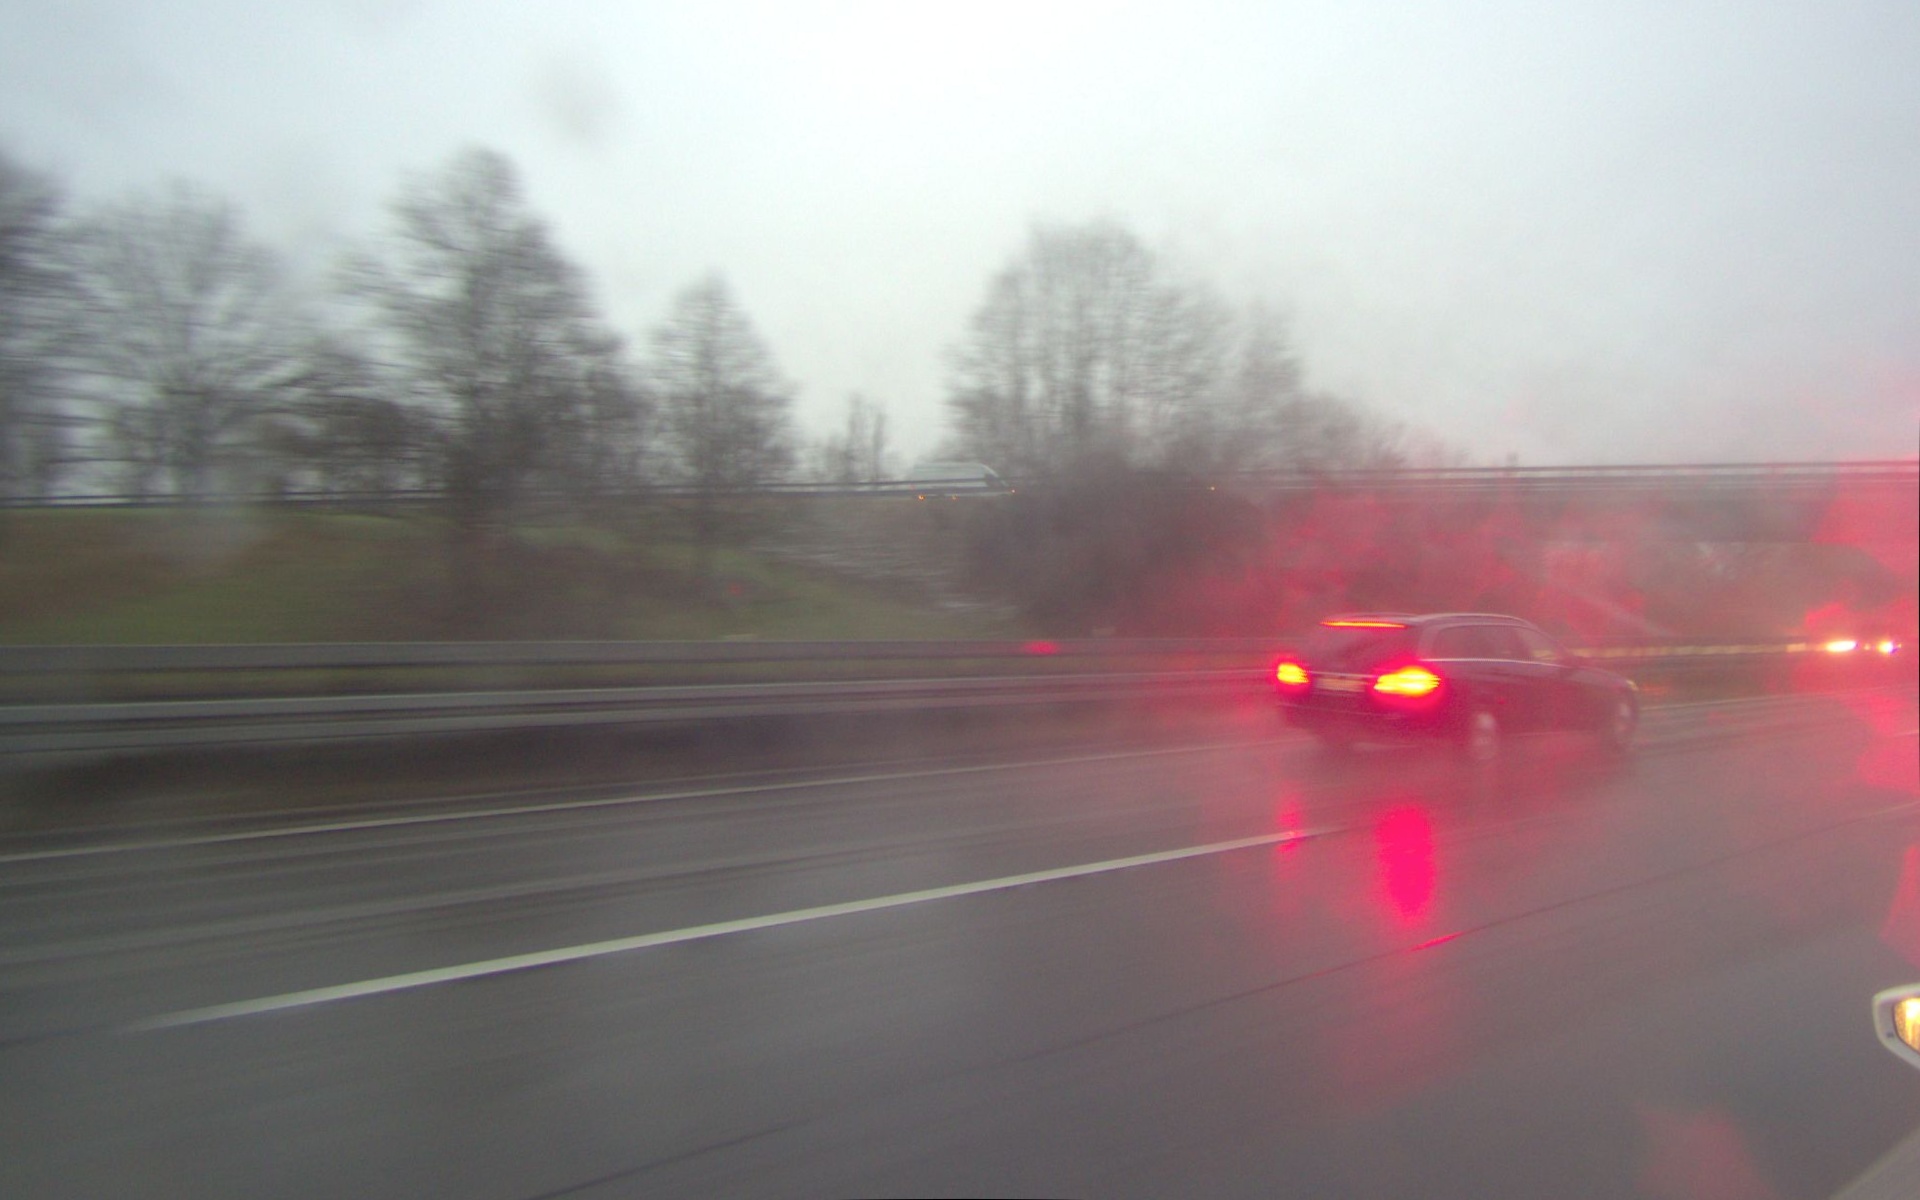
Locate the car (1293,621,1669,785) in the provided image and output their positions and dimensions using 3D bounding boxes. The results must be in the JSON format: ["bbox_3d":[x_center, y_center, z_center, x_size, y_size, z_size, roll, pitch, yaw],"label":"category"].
[{"bbox_3d":[5.846,1.045,11.095,4.369,1.486,1.788,1,-6,-35],"label":"car"}]
